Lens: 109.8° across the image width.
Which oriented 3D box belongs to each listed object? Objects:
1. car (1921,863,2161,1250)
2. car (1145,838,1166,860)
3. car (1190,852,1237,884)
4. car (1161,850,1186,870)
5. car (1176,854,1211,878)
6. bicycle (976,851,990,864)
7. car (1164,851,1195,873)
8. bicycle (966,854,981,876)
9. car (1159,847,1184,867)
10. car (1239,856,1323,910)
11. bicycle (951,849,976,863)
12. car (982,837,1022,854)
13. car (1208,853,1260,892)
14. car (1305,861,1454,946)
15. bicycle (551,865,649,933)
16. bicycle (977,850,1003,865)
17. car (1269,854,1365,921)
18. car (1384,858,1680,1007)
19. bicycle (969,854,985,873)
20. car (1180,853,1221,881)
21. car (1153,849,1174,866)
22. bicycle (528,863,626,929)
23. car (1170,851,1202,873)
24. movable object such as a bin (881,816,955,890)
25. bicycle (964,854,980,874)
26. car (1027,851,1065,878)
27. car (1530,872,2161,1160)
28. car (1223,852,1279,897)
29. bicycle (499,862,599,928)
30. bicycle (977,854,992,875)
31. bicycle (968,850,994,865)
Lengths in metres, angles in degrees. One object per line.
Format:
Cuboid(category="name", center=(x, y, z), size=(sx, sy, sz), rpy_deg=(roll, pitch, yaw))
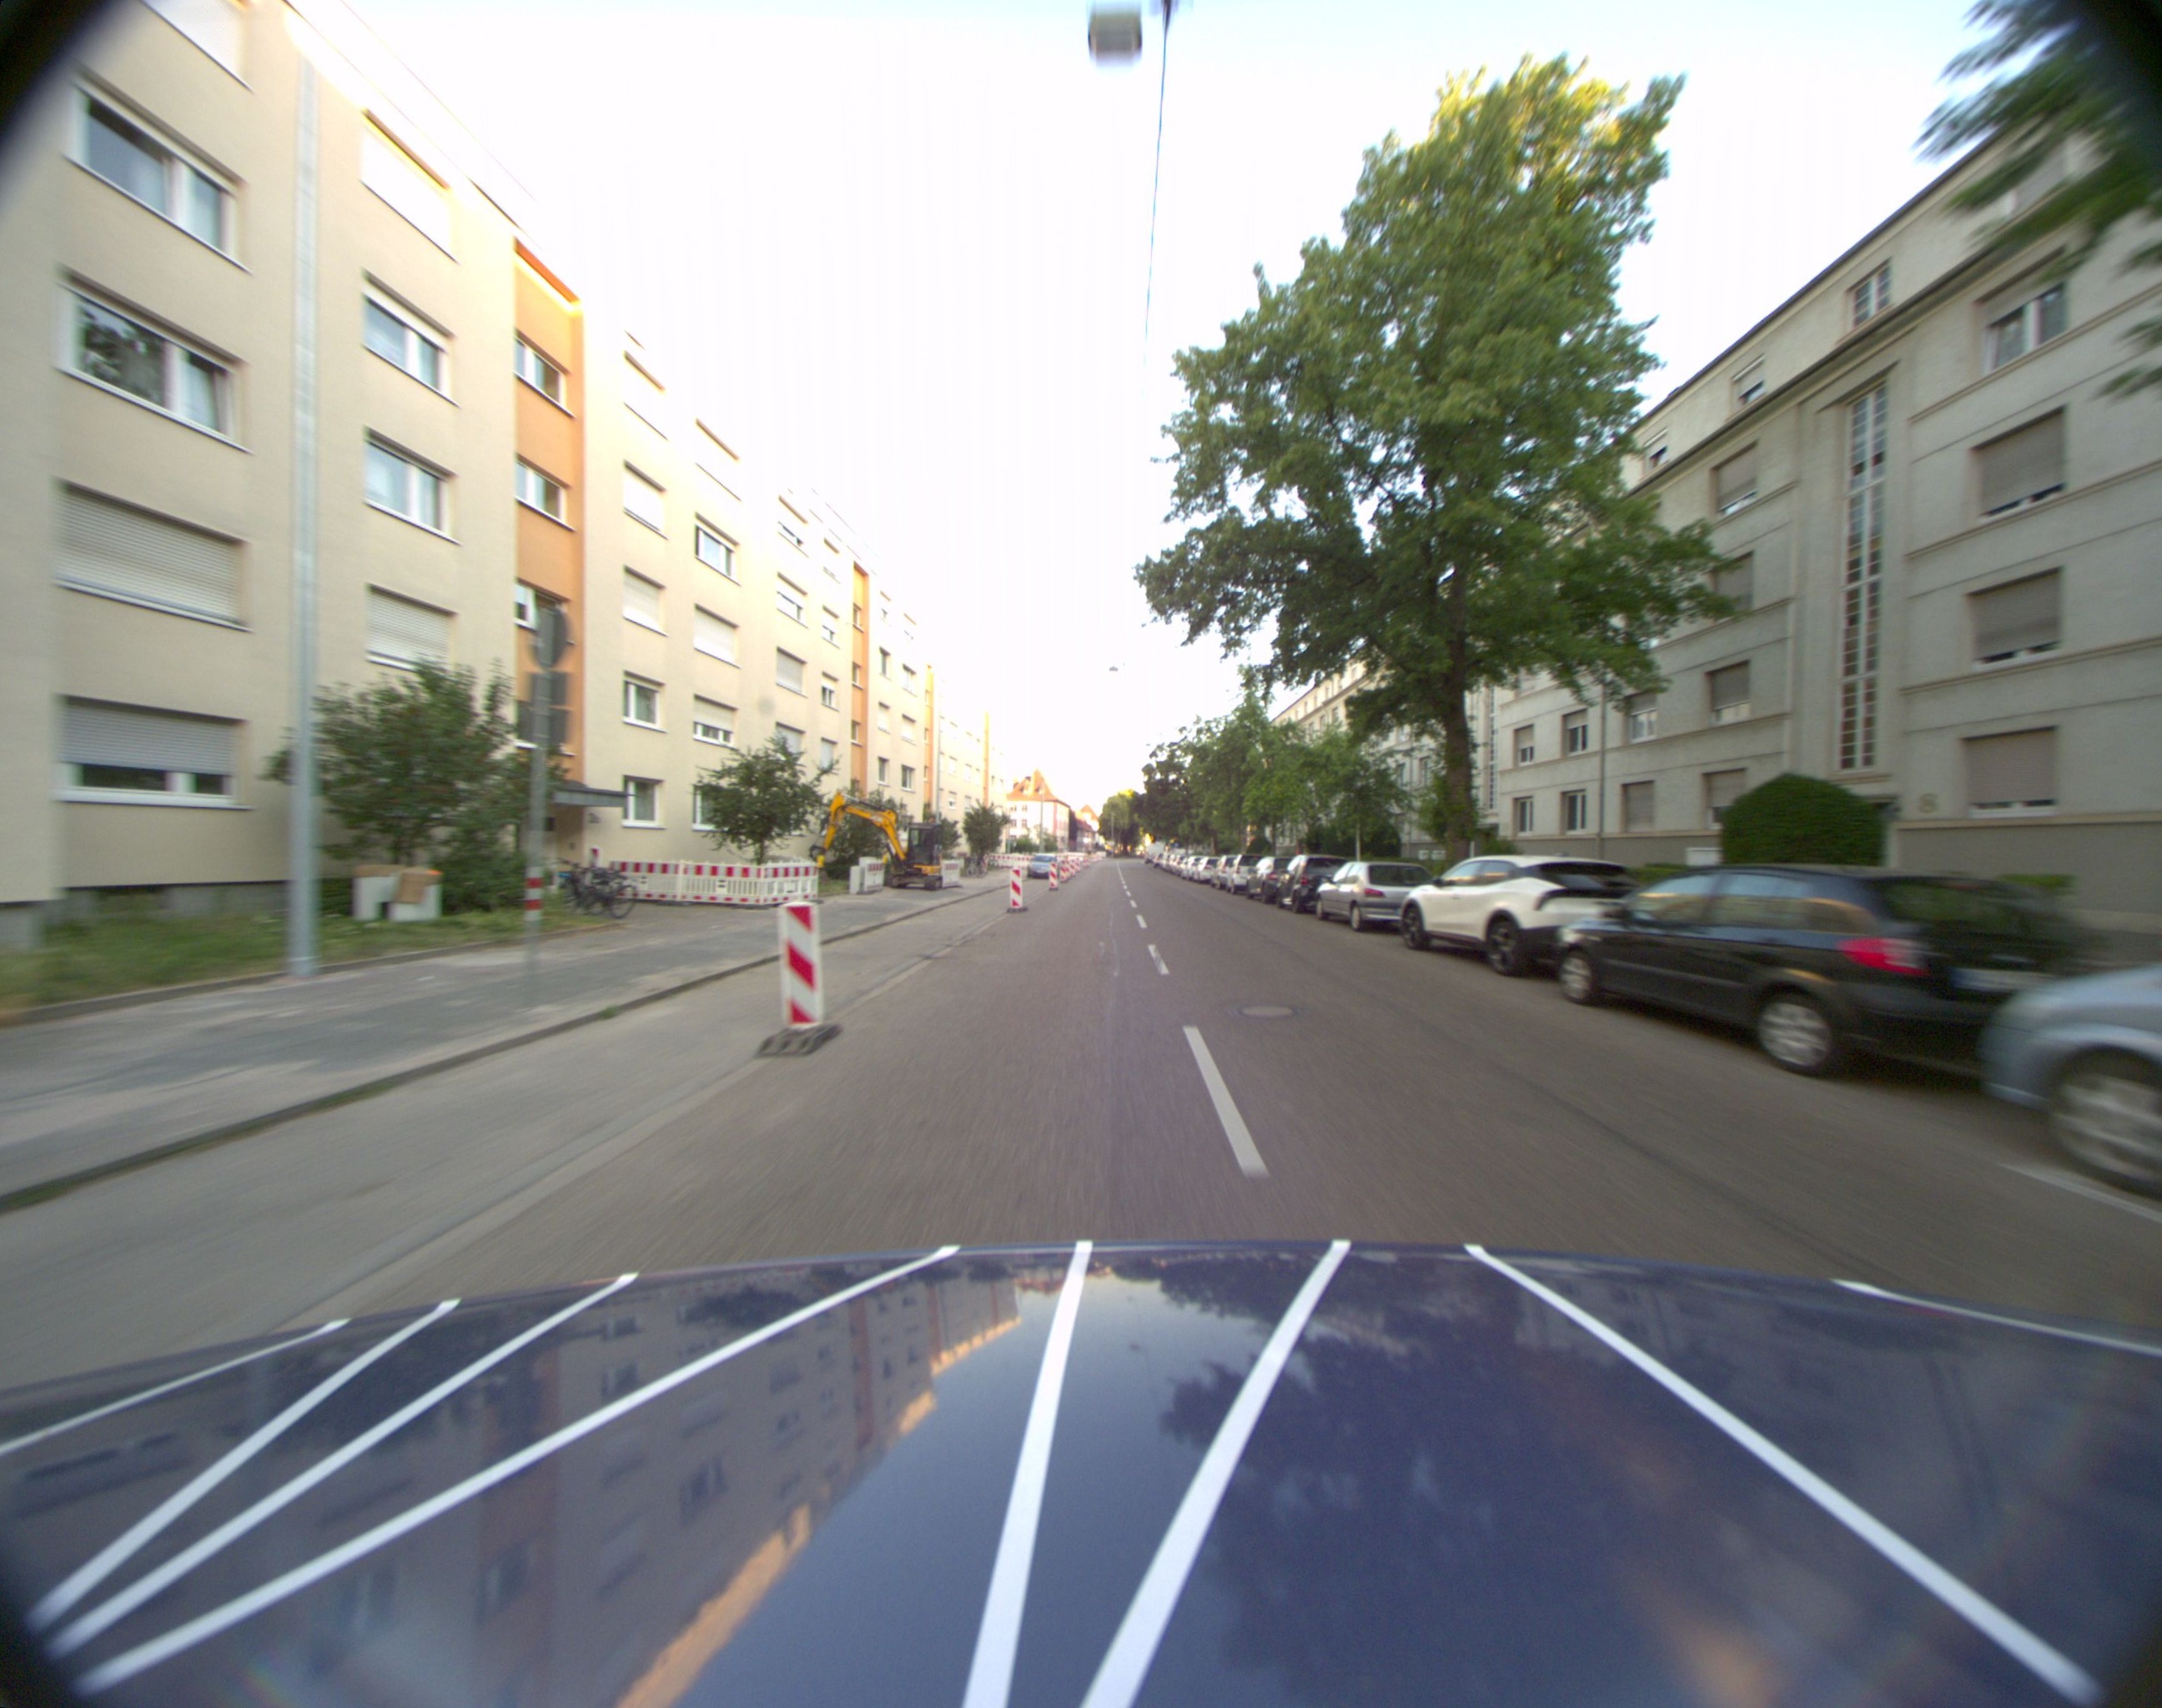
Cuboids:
Cuboid(category="car", center=(5.346, 0.916, 1.989), size=(1.711, 1.591, 4.117), rpy_deg=(4, 1, 2))
Cuboid(category="car", center=(9.169, -0.624, 94.077), size=(2.184, 2.447, 6.103), rpy_deg=(4, 1, 2))
Cuboid(category="car", center=(6.872, 0.678, 39.784), size=(1.696, 1.451, 4.483), rpy_deg=(4, 1, 2))
Cuboid(category="car", center=(7.853, 0.496, 64.781), size=(1.756, 1.471, 3.945), rpy_deg=(4, 1, 4))
Cuboid(category="car", center=(7.298, 0.755, 49.611), size=(1.678, 1.324, 4.579), rpy_deg=(4, 1, 1))
Cuboid(category="bicycle", center=(-7.702, 0.245, 59.471), size=(0.559, 0.860, 1.610), rpy_deg=(4, 2, -26))
Cuboid(category="car", center=(7.661, 0.581, 59.404), size=(1.757, 1.471, 4.678), rpy_deg=(4, 1, 1))
Cuboid(category="bicycle", center=(-6.082, 0.618, 42.989), size=(0.628, 1.165, 1.814), rpy_deg=(0, 1, -14))
Cuboid(category="car", center=(8.233, 0.246, 69.338), size=(1.756, 1.622, 4.107), rpy_deg=(4, 1, 1))
Cuboid(category="car", center=(6.373, 0.858, 24.629), size=(1.594, 1.458, 4.101), rpy_deg=(4, 1, 0))
Cuboid(category="bicycle", center=(-8.878, 0.175, 57.442), size=(1.821, 0.916, 0.556), rpy_deg=(4, 2, -39))
Cuboid(category="car", center=(-10.633, -1.156, 102.495), size=(5.029, 2.117, 2.291), rpy_deg=(1, 1, 10))
Cuboid(category="car", center=(6.710, 0.777, 33.675), size=(1.594, 1.496, 3.799), rpy_deg=(4, 1, 2))
Cuboid(category="car", center=(6.132, 0.929, 16.146), size=(1.594, 1.396, 4.181), rpy_deg=(4, 1, 2))
Cuboid(category="bicycle", center=(-9.035, 0.813, 14.356), size=(0.557, 1.165, 1.817), rpy_deg=(0, 1, 5))
Cuboid(category="bicycle", center=(-6.983, 0.274, 58.155), size=(1.815, 1.017, 0.558), rpy_deg=(6, 2, 3))
Cuboid(category="car", center=(6.238, 0.829, 20.400), size=(1.526, 1.520, 3.164), rpy_deg=(4, 1, 1))
Cuboid(category="car", center=(5.987, 0.916, 10.783), size=(1.594, 1.530, 4.206), rpy_deg=(4, 1, 0))
Cuboid(category="bicycle", center=(-6.440, 0.564, 47.083), size=(0.557, 1.165, 1.817), rpy_deg=(0, 1, 5))
Cuboid(category="car", center=(6.971, 0.722, 44.579), size=(1.696, 1.451, 4.144), rpy_deg=(4, 1, 0))
Cuboid(category="car", center=(8.144, 0.333, 74.924), size=(1.756, 1.463, 4.224), rpy_deg=(4, 1, 3))
Cuboid(category="bicycle", center=(-9.747, 0.771, 14.783), size=(0.557, 1.165, 1.817), rpy_deg=(0, 1, 5))
Cuboid(category="car", center=(7.467, 0.543, 54.287), size=(1.678, 1.451, 3.704), rpy_deg=(4, 1, 0))
Cuboid(category="movable object such as a bin", center=(-6.205, -0.053, 29.291), size=(1.937, 2.677, 2.893), rpy_deg=(1, 1, 7))
Cuboid(category="bicycle", center=(-6.472, 0.595, 45.034), size=(0.557, 1.165, 1.817), rpy_deg=(0, 1, 5))
Cuboid(category="car", center=(-2.147, 0.627, 47.939), size=(1.780, 1.482, 4.574), rpy_deg=(4, 1, 3))
Cuboid(category="car", center=(5.718, 0.992, 6.335), size=(1.711, 1.444, 3.843), rpy_deg=(4, 1, 3))
Cuboid(category="car", center=(6.521, 0.743, 29.365), size=(1.593, 1.520, 2.922), rpy_deg=(4, 1, 4))
Cuboid(category="bicycle", center=(-10.346, 0.761, 14.857), size=(0.557, 1.165, 1.817), rpy_deg=(0, 1, 5))
Cuboid(category="bicycle", center=(-5.543, 0.603, 43.470), size=(0.558, 1.165, 1.814), rpy_deg=(0, 1, -17))
Cuboid(category="bicycle", center=(-7.425, 0.266, 56.435), size=(1.755, 0.981, 0.558), rpy_deg=(6, 2, 11))
